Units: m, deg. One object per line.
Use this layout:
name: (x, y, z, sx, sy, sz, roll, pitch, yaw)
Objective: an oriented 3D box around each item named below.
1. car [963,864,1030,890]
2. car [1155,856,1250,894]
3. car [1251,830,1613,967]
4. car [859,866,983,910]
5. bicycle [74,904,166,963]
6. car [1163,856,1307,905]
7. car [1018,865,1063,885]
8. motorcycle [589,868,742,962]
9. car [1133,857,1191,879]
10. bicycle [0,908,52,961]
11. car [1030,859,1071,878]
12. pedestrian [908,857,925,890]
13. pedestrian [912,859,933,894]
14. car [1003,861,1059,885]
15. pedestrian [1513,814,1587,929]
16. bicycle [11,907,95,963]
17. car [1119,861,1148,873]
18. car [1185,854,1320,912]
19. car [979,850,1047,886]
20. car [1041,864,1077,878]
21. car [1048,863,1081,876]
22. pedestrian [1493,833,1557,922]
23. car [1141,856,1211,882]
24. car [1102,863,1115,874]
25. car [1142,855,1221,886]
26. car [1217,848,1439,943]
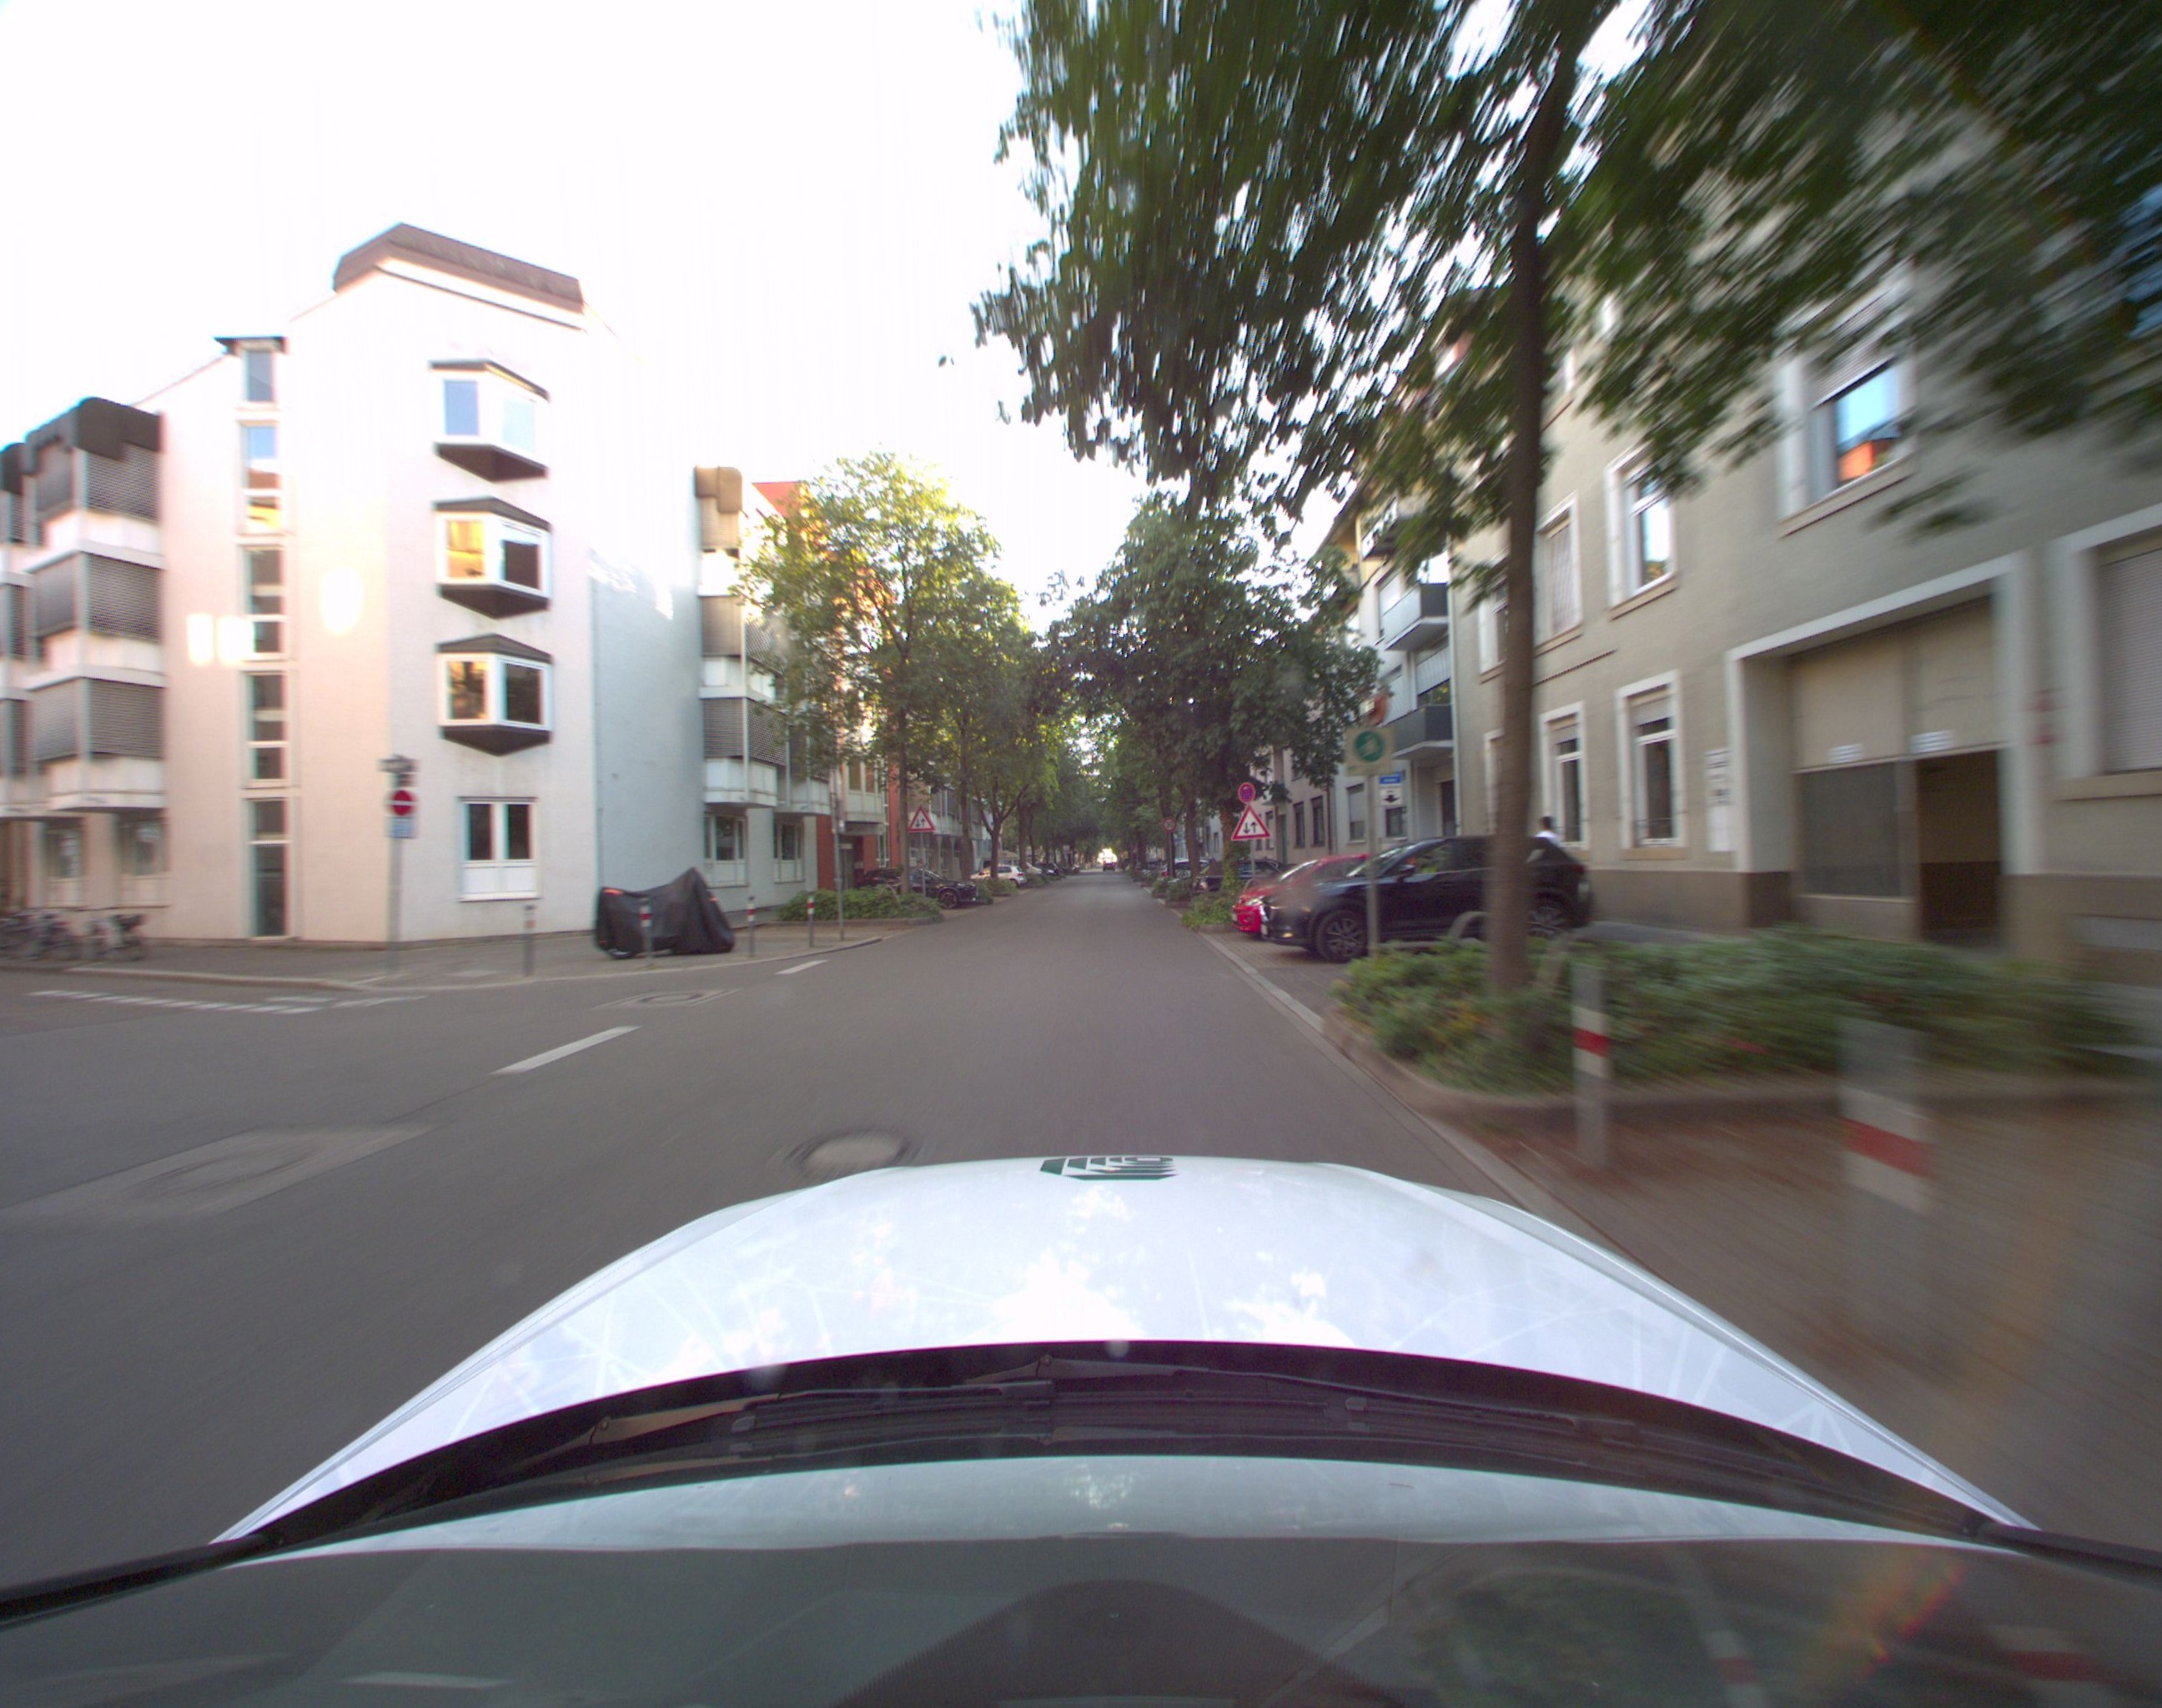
car: (-5.225, 1.417, 50.749, 3.854, 1.486, 1.758, -1, -1, 3)
car: (5.383, 0.910, 36.433, 3.866, 1.440, 1.846, -3, 0, -2)
car: (4.855, 0.601, 11.814, 4.407, 1.656, 1.901, -2, 0, 3)
car: (-5.791, 1.208, 29.881, 4.113, 1.486, 1.929, -1, -1, 1)
bicycle: (-19.655, 1.622, 16.659, 1.779, 1.107, 0.586, -3, 1, 20)
car: (5.320, 0.910, 28.674, 4.693, 1.421, 2.036, -3, 0, 1)
car: (-3.924, 2.024, 79.276, 4.187, 1.635, 1.964, -3, -1, 1)
motorcycle: (-7.137, 1.018, 14.127, 2.214, 1.481, 0.854, -1, 0, -17)
car: (6.528, 1.116, 65.744, 4.486, 1.521, 1.998, -3, -1, 5)
bicycle: (-24.078, 1.807, 18.379, 1.778, 1.107, 0.644, -2, 1, 25)
car: (-3.691, 1.725, 98.439, 4.744, 1.984, 1.964, -3, -1, 1)
pedestrian: (-8.971, 1.051, 44.365, 0.700, 1.728, 0.905, -1, -1, 2)
pedestrian: (-7.933, 1.122, 40.717, 0.697, 1.757, 0.744, -2, -1, 25)
car: (-4.344, 1.676, 71.563, 4.665, 1.854, 1.964, -3, -1, 1)
pedestrian: (7.322, 0.265, 12.719, 0.694, 1.737, 0.668, -2, -1, -30)
bicycle: (-21.721, 1.717, 17.201, 1.779, 1.107, 0.503, -3, 1, 20)
car: (7.786, 1.904, 121.842, 4.252, 1.565, 1.964, -3, -1, 1)
car: (4.897, 0.808, 23.632, 3.472, 1.452, 1.899, -3, 0, -1)
car: (-4.890, 1.011, 59.127, 4.665, 2.478, 2.001, -1, -1, 1)
car: (-2.989, 2.273, 111.199, 4.744, 1.630, 1.964, -3, -1, 1)
car: (-2.481, 2.319, 121.826, 4.744, 1.630, 1.964, -3, -1, 1)
pedestrian: (7.976, 0.408, 14.667, 0.652, 1.536, 0.832, -3, -1, 3)
car: (6.604, 1.050, 56.824, 4.665, 1.521, 1.964, -3, -1, 1)
car: (4.307, 2.236, 127.495, 1.949, 1.565, 4.284, -3, -1, 2)
car: (6.160, 1.002, 50.373, 4.697, 1.710, 1.952, -1, 0, 3)
car: (4.416, 0.716, 14.999, 3.472, 1.452, 1.899, -3, 0, -1)
